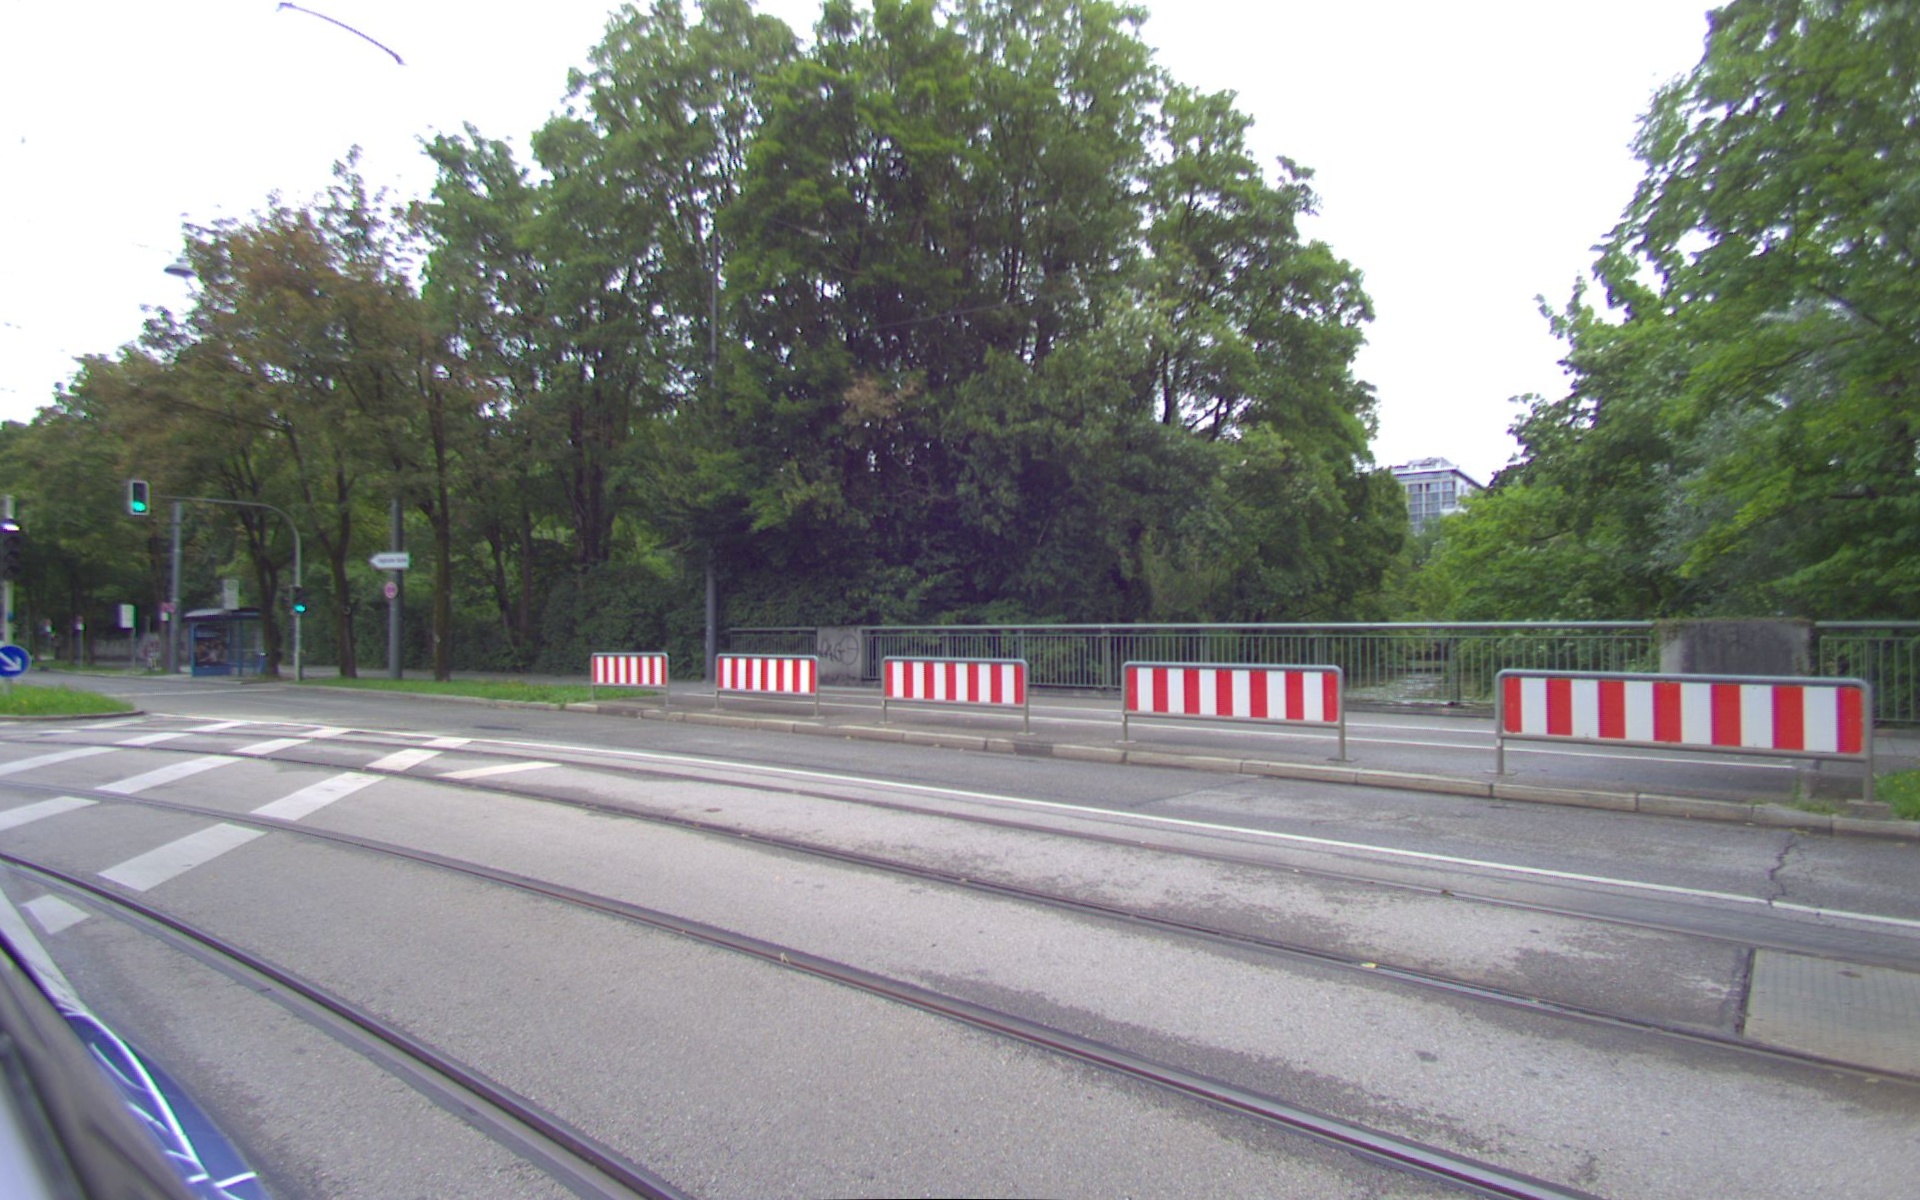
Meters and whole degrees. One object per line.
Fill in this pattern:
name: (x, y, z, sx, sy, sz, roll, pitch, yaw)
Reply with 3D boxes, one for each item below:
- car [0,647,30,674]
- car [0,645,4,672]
car: (-60.295, 3.795, 63.831, 3.996, 1.552, 1.865, -1, 0, 39)
car: (-64.732, 3.897, 66.839, 3.996, 1.739, 1.864, -1, 0, 40)
